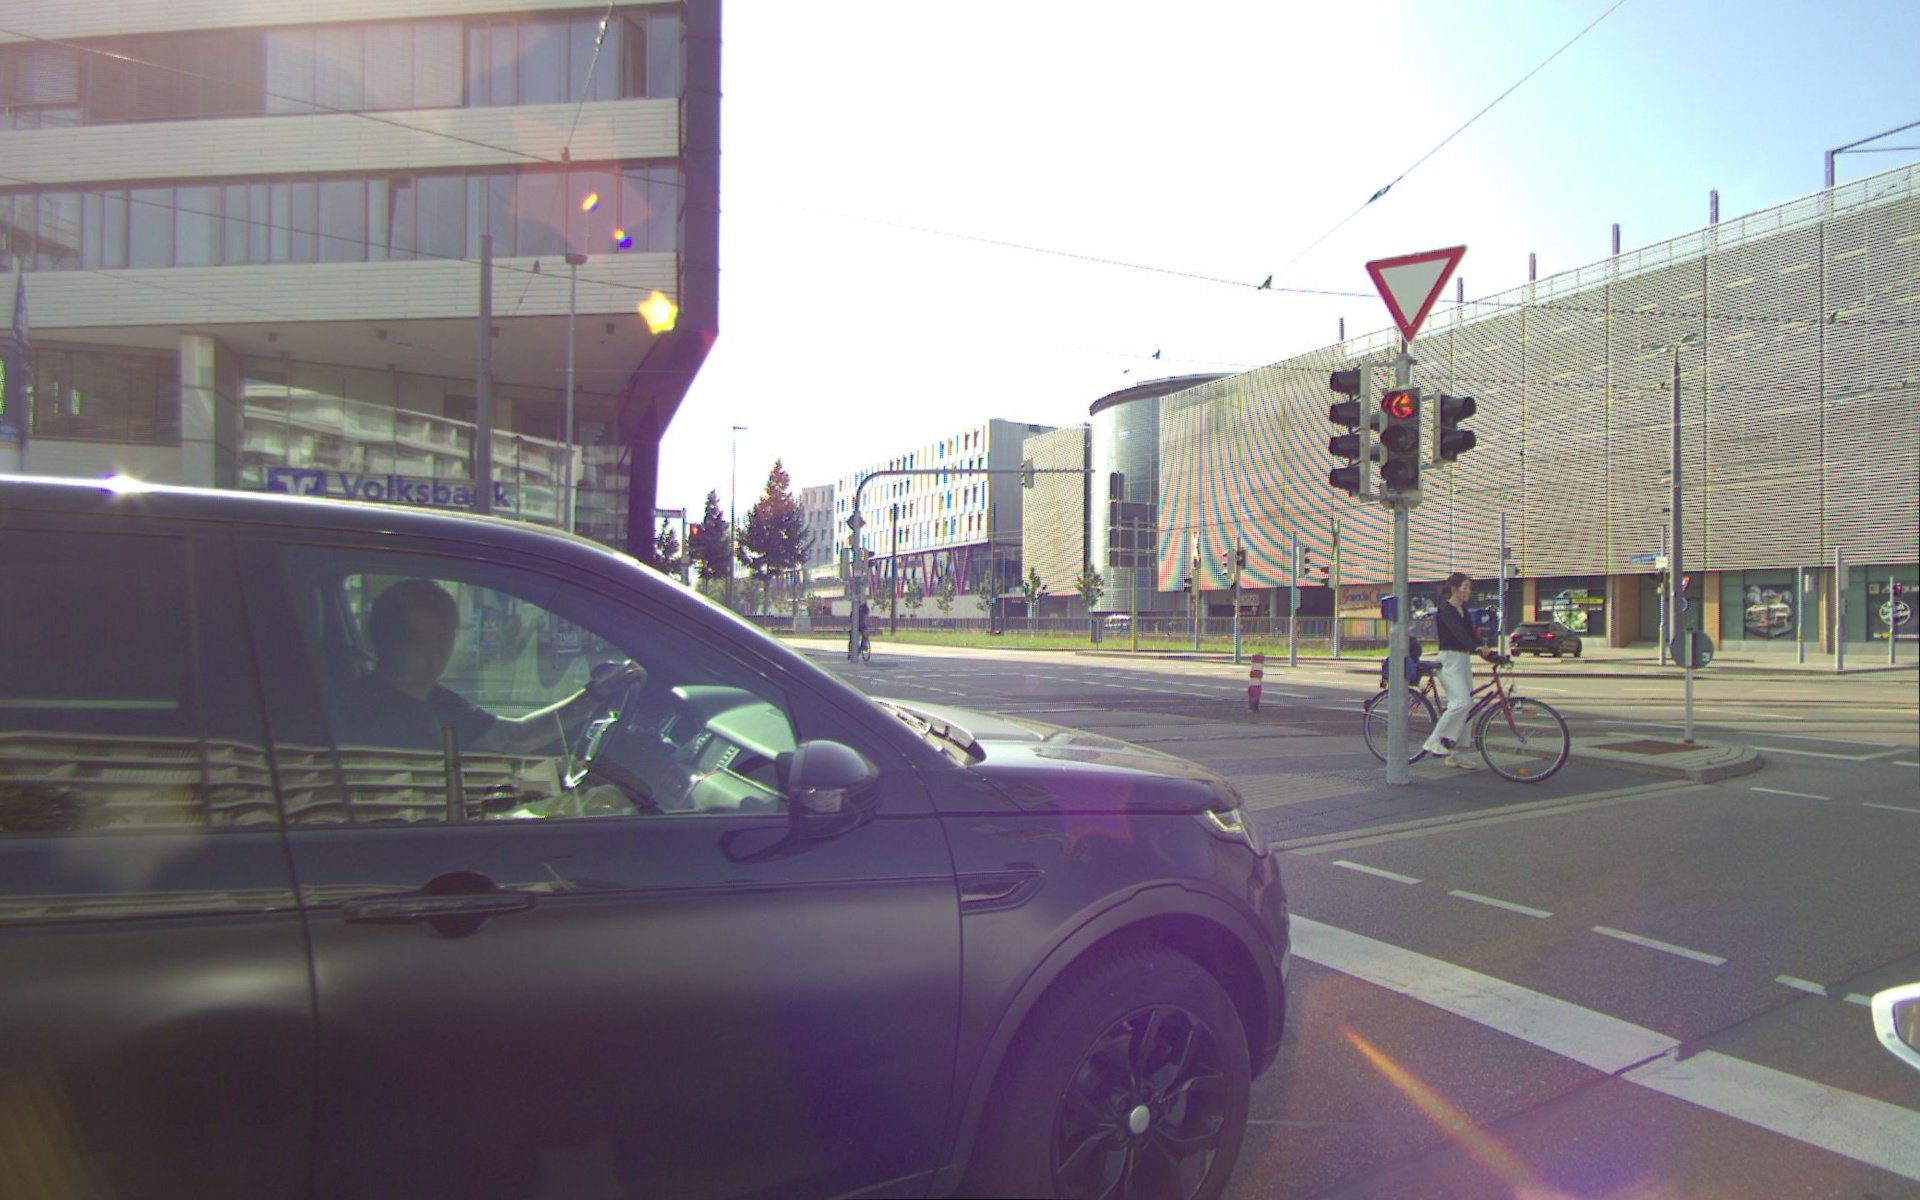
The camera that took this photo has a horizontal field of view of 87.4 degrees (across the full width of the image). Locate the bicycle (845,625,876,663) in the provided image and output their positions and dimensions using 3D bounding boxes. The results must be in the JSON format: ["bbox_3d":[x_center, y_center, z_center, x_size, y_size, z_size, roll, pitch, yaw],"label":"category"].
[{"bbox_3d":[-3.094,1.351,31.106,0.413,1.070,1.950,2,0,-21],"label":"bicycle"}]

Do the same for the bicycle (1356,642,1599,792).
[{"bbox_3d":[4.535,0.973,8.920,0.664,1.113,1.785,2,0,-38],"label":"bicycle"}]

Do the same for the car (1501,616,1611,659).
[{"bbox_3d":[24.546,1.529,41.377,3.944,1.718,1.989,1,-1,-24],"label":"car"}]

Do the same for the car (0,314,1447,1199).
[{"bbox_3d":[-0.989,0.537,2.348,4.170,1.700,1.789,1,-2,-30],"label":"car"}]

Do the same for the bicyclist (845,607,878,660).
[{"bbox_3d":[-3.057,1.037,31.103,0.772,1.607,0.927,2,0,-22],"label":"bicyclist"}]

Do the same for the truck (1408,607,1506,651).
[{"bbox_3d":[28.041,1.624,56.791,2.183,2.352,4.512,1,-1,-32],"label":"truck"}]

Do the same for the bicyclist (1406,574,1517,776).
[{"bbox_3d":[4.484,0.642,8.994,0.664,1.725,0.630,2,0,-38],"label":"bicyclist"}]
